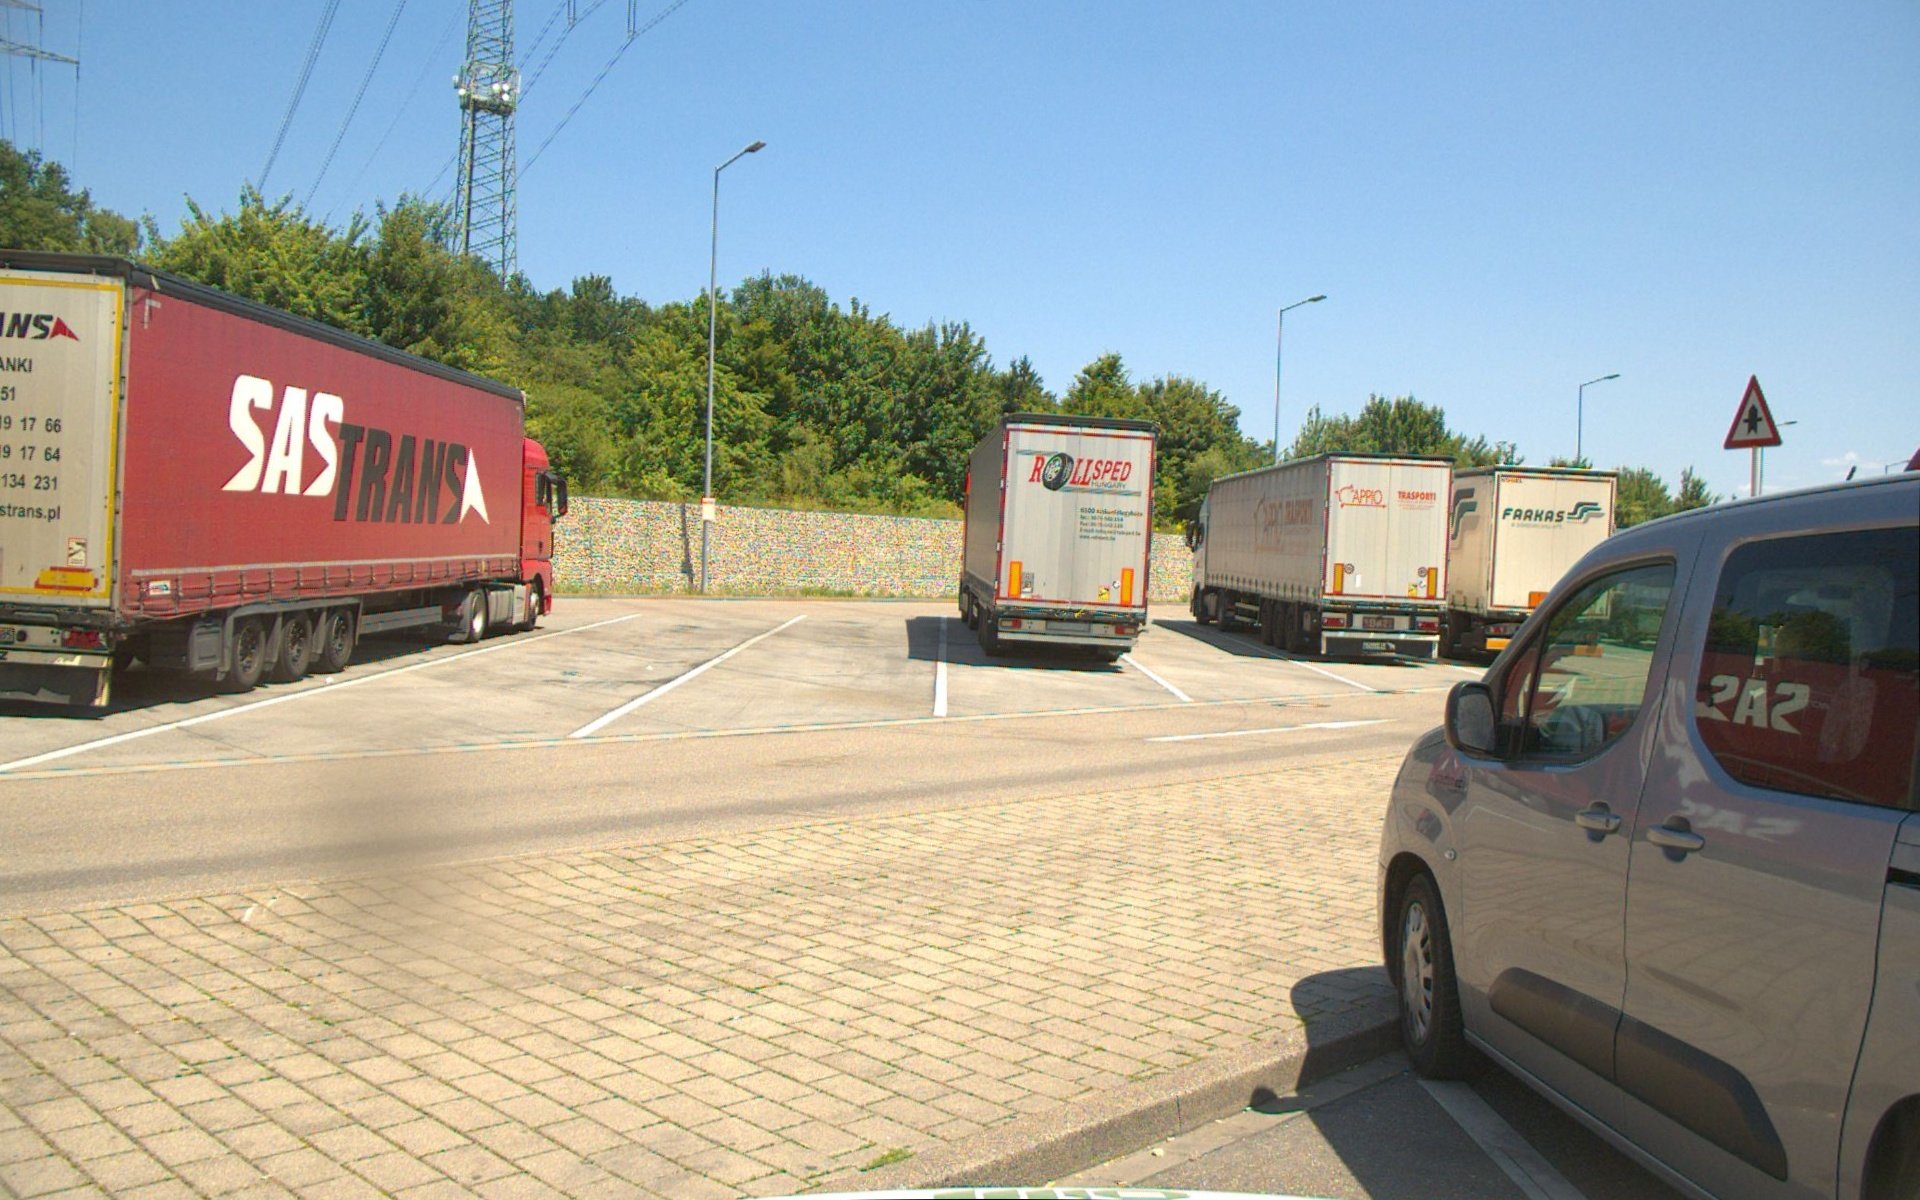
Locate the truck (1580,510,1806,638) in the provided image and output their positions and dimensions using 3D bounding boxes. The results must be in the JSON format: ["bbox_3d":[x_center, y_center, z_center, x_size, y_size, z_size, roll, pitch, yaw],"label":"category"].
[{"bbox_3d":[21.952,-0.806,50.187,2.963,3.497,8.529,1,1,-1],"label":"truck"}]

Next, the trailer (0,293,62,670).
[{"bbox_3d":[-12.413,-1.312,15.448,2.689,4.337,9.733,1,1,0],"label":"trailer"}]

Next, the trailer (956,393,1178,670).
[{"bbox_3d":[1.694,-1.315,32.680,3.008,4.301,12.805,2,2,-2],"label":"trailer"}]

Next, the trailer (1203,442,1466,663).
[{"bbox_3d":[8.200,-1.049,38.612,2.818,4.196,13.569,1,1,-1],"label":"trailer"}]

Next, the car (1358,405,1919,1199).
[{"bbox_3d":[2.429,0.556,3.817,1.790,1.784,3.997,1,1,-4],"label":"car"}]

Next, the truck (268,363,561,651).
[{"bbox_3d":[-8.779,-1.422,27.540,2.687,4.152,6.828,1,1,-1],"label":"truck"}]

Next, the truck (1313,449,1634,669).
[{"bbox_3d":[11.712,-0.956,39.995,2.846,4.195,14.525,3,1,-1],"label":"truck"}]

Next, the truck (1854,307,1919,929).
[{"bbox_3d":[4.975,0.128,4.938,1.952,2.669,5.305,1,1,3],"label":"truck"}]

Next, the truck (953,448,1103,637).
[{"bbox_3d":[1.462,-1.380,39.445,2.965,3.997,6.845,2,2,-2],"label":"truck"}]

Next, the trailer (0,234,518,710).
[{"bbox_3d":[-8.685,-1.261,21.058,2.694,4.128,13.284,1,1,-1],"label":"trailer"}]

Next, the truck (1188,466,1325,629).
[{"bbox_3d":[8.067,-1.410,45.610,2.701,4.196,5.283,1,1,-1],"label":"truck"}]
